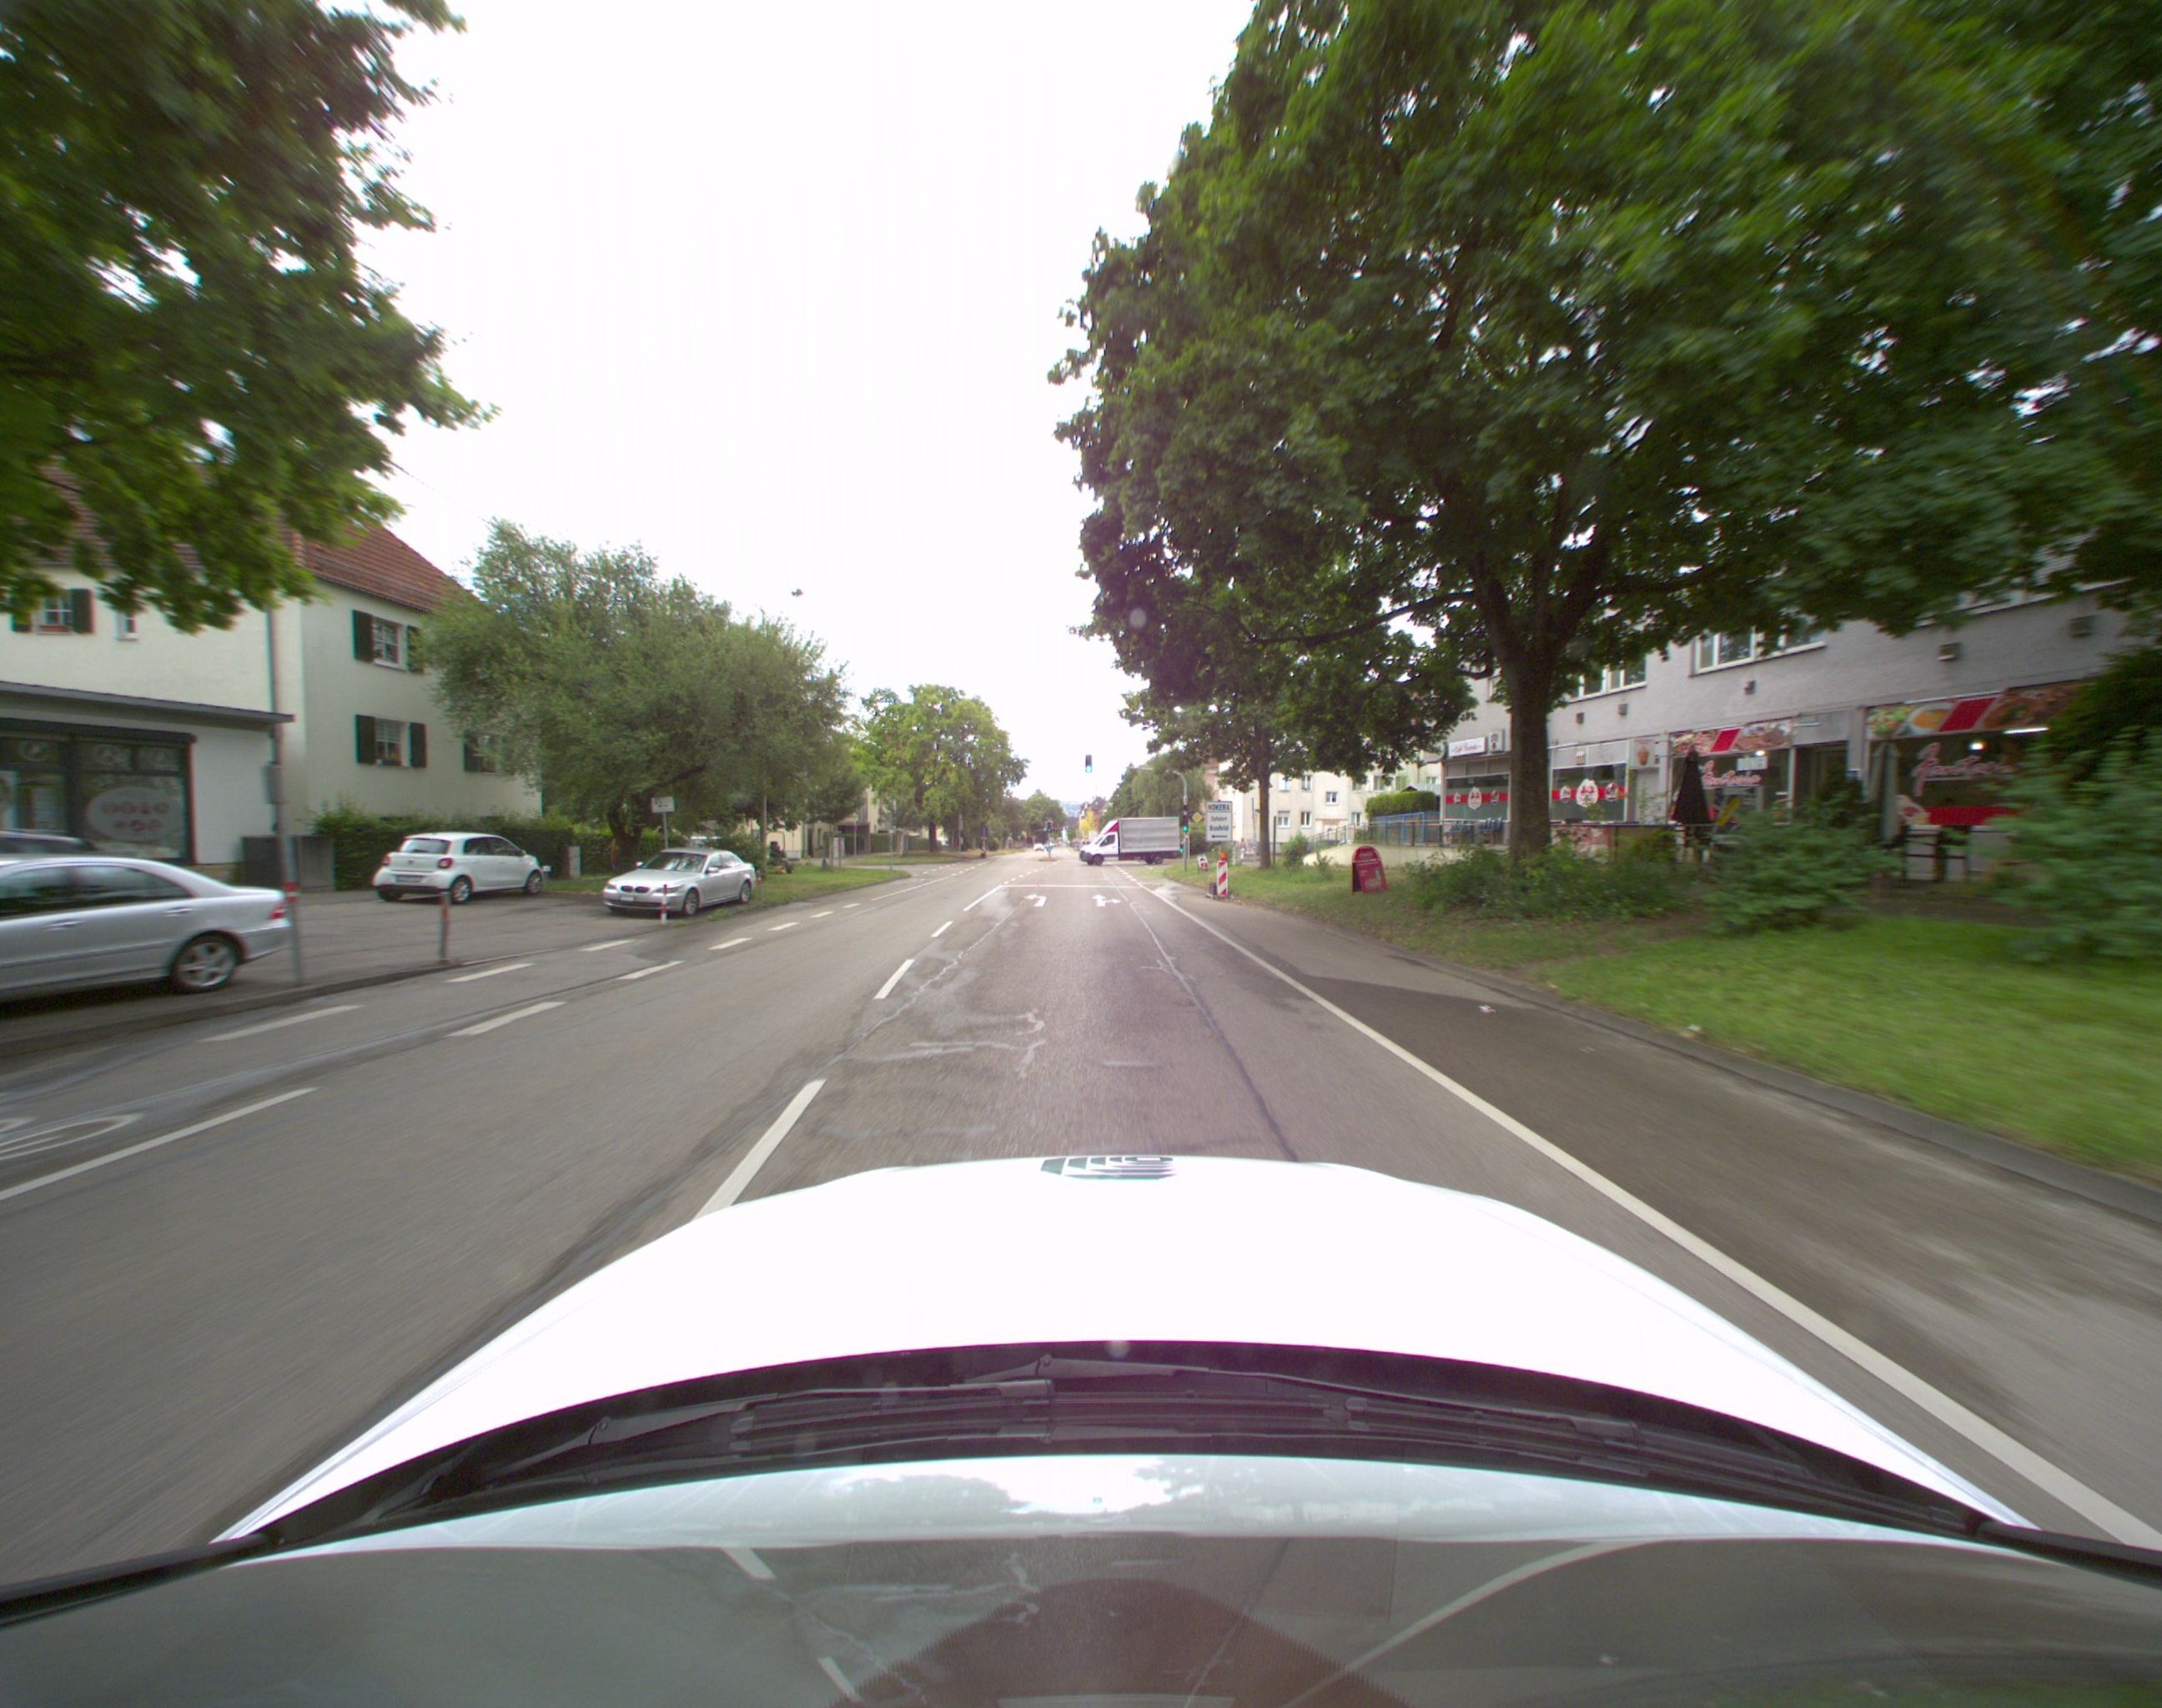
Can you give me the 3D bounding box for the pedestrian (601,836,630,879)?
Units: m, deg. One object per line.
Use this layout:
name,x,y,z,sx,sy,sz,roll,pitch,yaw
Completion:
pedestrian,-17.789,0.118,31.138,0.628,1.613,0.829,1,0,-3

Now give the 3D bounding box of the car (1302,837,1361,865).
car,14.245,-0.184,46.478,1.866,1.473,3.994,1,0,-5

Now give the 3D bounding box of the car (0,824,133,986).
car,-12.043,0.511,7.510,1.754,1.633,4.003,3,1,2

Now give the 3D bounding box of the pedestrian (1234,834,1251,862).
pedestrian,10.911,-0.399,54.971,0.749,1.855,0.950,-3,1,-15

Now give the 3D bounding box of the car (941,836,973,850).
car,-14.461,-1.291,94.993,3.441,1.596,1.998,1,0,-3

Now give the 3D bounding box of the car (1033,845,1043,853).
car,-8.492,-0.952,160.534,1.988,1.505,3.997,1,0,-2

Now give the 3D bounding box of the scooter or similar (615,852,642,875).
scooter or similar,-16.761,0.346,30.192,0.324,0.843,1.201,1,0,0

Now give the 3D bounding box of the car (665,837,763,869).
car,-22.203,-0.055,49.400,4.981,1.813,1.998,1,0,-3

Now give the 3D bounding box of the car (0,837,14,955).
car,-14.352,0.507,8.020,1.755,1.470,4.441,3,1,0

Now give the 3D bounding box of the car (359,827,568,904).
car,-14.640,0.235,19.671,1.756,1.633,4.287,1,0,0

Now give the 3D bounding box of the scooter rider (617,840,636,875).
scooter rider,-16.793,0.129,30.106,0.349,1.276,0.559,1,0,0

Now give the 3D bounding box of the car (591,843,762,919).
car,-9.709,0.562,20.052,1.755,1.633,4.753,1,0,1

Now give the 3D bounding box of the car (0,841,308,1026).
car,-9.897,0.654,7.218,1.754,1.535,4.395,1,0,3

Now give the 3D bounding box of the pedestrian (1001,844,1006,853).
pedestrian,-14.844,-1.001,155.696,0.947,1.650,1.040,1,0,-7

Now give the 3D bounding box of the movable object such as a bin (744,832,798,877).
movable object such as a bin,-13.725,0.001,36.191,1.213,1.903,3.025,1,0,0

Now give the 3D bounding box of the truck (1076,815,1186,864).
truck,3.464,-0.984,56.769,7.231,3.307,2.530,0,1,-12
